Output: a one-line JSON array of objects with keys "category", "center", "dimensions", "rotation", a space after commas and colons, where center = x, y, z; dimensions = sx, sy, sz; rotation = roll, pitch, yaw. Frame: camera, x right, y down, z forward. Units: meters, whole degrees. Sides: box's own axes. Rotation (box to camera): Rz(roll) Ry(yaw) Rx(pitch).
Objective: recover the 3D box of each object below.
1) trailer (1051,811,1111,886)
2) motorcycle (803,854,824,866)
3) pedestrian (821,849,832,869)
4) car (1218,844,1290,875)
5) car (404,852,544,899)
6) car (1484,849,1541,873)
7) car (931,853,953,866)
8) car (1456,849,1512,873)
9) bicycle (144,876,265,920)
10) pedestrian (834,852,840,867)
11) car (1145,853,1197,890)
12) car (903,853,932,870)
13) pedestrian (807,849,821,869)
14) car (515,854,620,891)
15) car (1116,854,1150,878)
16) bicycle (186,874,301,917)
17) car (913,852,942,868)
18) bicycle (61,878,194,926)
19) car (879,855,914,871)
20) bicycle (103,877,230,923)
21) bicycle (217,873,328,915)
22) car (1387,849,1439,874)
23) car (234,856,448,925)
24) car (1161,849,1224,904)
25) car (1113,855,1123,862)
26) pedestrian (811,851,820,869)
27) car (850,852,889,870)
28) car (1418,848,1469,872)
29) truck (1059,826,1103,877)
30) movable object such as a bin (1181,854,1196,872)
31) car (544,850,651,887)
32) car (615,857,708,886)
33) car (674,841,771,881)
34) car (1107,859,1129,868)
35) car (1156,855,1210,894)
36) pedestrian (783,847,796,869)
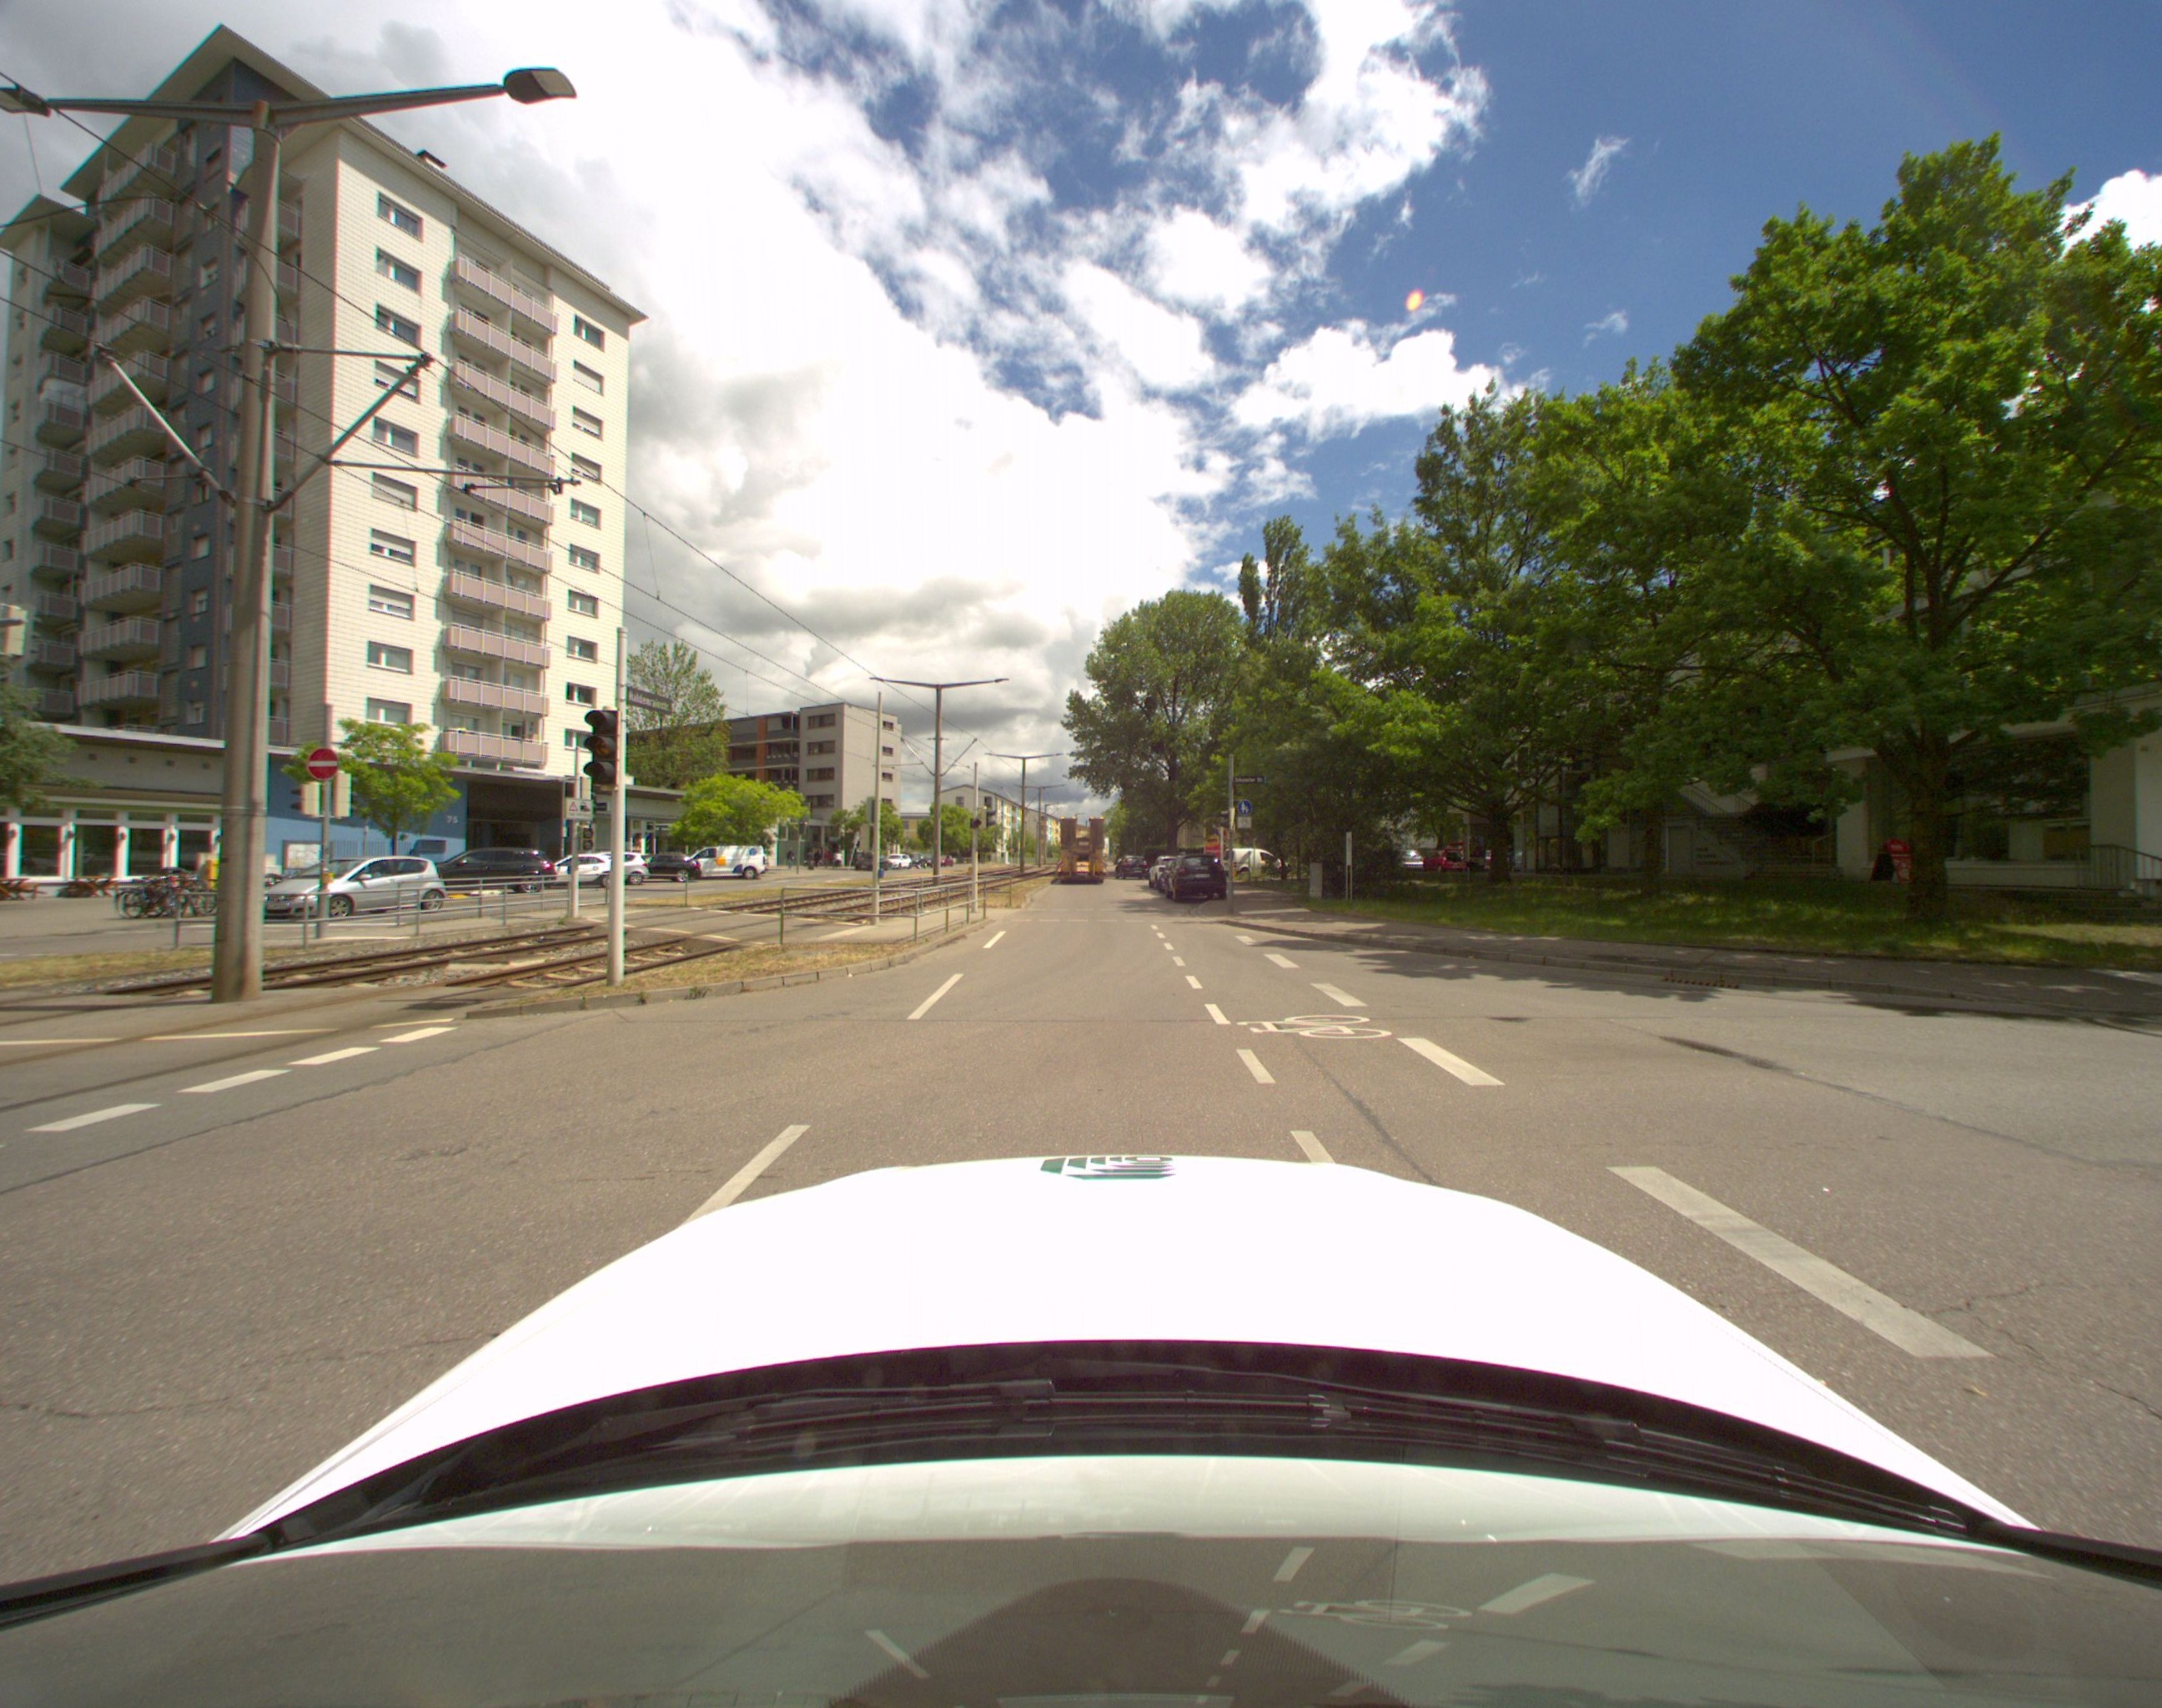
[{"category": "trailer", "center": [0.035, -0.339, 47.712], "dimensions": [3.040, 3.772, 11.612], "rotation": [-1, 0, 0]}, {"category": "motorcycle", "center": [-26.562, 0.585, 80.893], "dimensions": [1.886, 1.178, 0.741], "rotation": [-1, 0, 0]}, {"category": "pedestrian", "center": [-22.373, 0.421, 71.532], "dimensions": [0.609, 1.792, 0.844], "rotation": [-1, 0, 2]}, {"category": "car", "center": [10.647, 0.308, 50.114], "dimensions": [4.002, 1.823, 1.798], "rotation": [-1, 0, -21]}, {"category": "car", "center": [-22.895, 0.771, 30.809], "dimensions": [4.023, 1.591, 1.909], "rotation": [-1, 1, -44]}, {"category": "car", "center": [28.150, 0.423, 53.283], "dimensions": [1.737, 1.528, 4.002], "rotation": [-1, 1, 2]}, {"category": "car", "center": [-16.380, 0.637, 96.125], "dimensions": [1.604, 1.426, 3.432], "rotation": [-1, 0, 9]}, {"category": "car", "center": [25.699, 0.407, 52.058], "dimensions": [1.737, 1.470, 4.002], "rotation": [-1, 1, 2]}, {"category": "bicycle", "center": [-22.382, 1.113, 20.818], "dimensions": [2.417, 1.066, 0.705], "rotation": [-1, 0, 3]}, {"category": "pedestrian", "center": [-23.937, 0.545, 79.830], "dimensions": [0.500, 1.460, 0.556], "rotation": [-1, 0, -25]}, {"category": "car", "center": [4.187, 0.785, 38.606], "dimensions": [1.779, 1.565, 4.565], "rotation": [-1, 0, -3]}, {"category": "car", "center": [-16.585, 0.745, 82.748], "dimensions": [1.987, 1.662, 4.100], "rotation": [1, 1, 0]}, {"category": "pedestrian", "center": [-22.166, 0.433, 67.639], "dimensions": [0.833, 1.649, 0.616], "rotation": [1, 0, 22]}, {"category": "car", "center": [-22.537, 0.761, 35.789], "dimensions": [3.784, 1.496, 1.728], "rotation": [-1, 1, -37]}, {"category": "car", "center": [3.265, 0.727, 51.654], "dimensions": [1.810, 1.448, 3.824], "rotation": [-1, 0, -1]}, {"category": "bicycle", "center": [-22.372, 1.104, 21.765], "dimensions": [2.417, 1.066, 0.705], "rotation": [-1, 0, 3]}, {"category": "car", "center": [-16.820, 0.646, 89.308], "dimensions": [1.984, 1.648, 4.106], "rotation": [-1, 0, 5]}, {"category": "bicycle", "center": [-22.501, 1.129, 19.238], "dimensions": [2.417, 1.066, 0.705], "rotation": [-1, 0, 3]}, {"category": "car", "center": [-17.568, 0.848, 77.616], "dimensions": [1.744, 1.475, 4.410], "rotation": [-1, 0, 8]}, {"category": "bicycle", "center": [-22.454, 1.121, 20.021], "dimensions": [2.417, 1.066, 0.705], "rotation": [-1, 0, 3]}, {"category": "bicycle", "center": [-22.317, 1.096, 22.492], "dimensions": [2.417, 1.066, 0.705], "rotation": [-1, 0, 3]}, {"category": "car", "center": [21.110, 0.446, 51.934], "dimensions": [1.931, 1.490, 4.005], "rotation": [-1, 1, 4]}, {"category": "car", "center": [-18.727, 0.864, 20.873], "dimensions": [1.809, 1.532, 3.762], "rotation": [-1, 0, 7]}, {"category": "car", "center": [3.927, 0.734, 29.357], "dimensions": [1.638, 1.762, 4.569], "rotation": [-1, 0, 0]}, {"category": "car", "center": [7.589, 0.913, 165.607], "dimensions": [1.986, 1.387, 4.003], "rotation": [-1, 0, 2]}, {"category": "pedestrian", "center": [-23.663, 0.537, 72.628], "dimensions": [0.667, 1.573, 0.683], "rotation": [-1, 0, -25]}, {"category": "car", "center": [-18.060, 0.616, 69.770], "dimensions": [1.726, 1.428, 4.387], "rotation": [2, 0, 5]}, {"category": "car", "center": [23.416, 0.341, 52.726], "dimensions": [1.735, 1.443, 4.005], "rotation": [-1, 1, 4]}, {"category": "truck", "center": [0.047, -0.204, 57.169], "dimensions": [2.824, 3.330, 7.984], "rotation": [-1, 0, 0]}, {"category": "movable object such as a bin", "center": [8.882, 0.762, 67.428], "dimensions": [1.094, 1.439, 0.761], "rotation": [-1, 0, 0]}, {"category": "car", "center": [-22.906, 0.643, 38.635], "dimensions": [4.023, 1.632, 1.883], "rotation": [-1, 1, -43]}, {"category": "car", "center": [-21.969, 0.892, 42.723], "dimensions": [4.020, 1.383, 1.884], "rotation": [-1, 1, -39]}, {"category": "car", "center": [-20.624, 0.387, 46.977], "dimensions": [4.786, 2.156, 1.884], "rotation": [-1, 1, -39]}, {"category": "car", "center": [6.683, 1.741, 146.968], "dimensions": [3.572, 1.584, 2.008], "rotation": [-1, -1, 14]}, {"category": "car", "center": [4.156, 0.809, 33.859], "dimensions": [1.639, 1.458, 4.074], "rotation": [-1, 0, -1]}, {"category": "pedestrian", "center": [-24.222, 0.306, 67.628], "dimensions": [0.846, 1.792, 0.865], "rotation": [-1, 0, -33]}]
